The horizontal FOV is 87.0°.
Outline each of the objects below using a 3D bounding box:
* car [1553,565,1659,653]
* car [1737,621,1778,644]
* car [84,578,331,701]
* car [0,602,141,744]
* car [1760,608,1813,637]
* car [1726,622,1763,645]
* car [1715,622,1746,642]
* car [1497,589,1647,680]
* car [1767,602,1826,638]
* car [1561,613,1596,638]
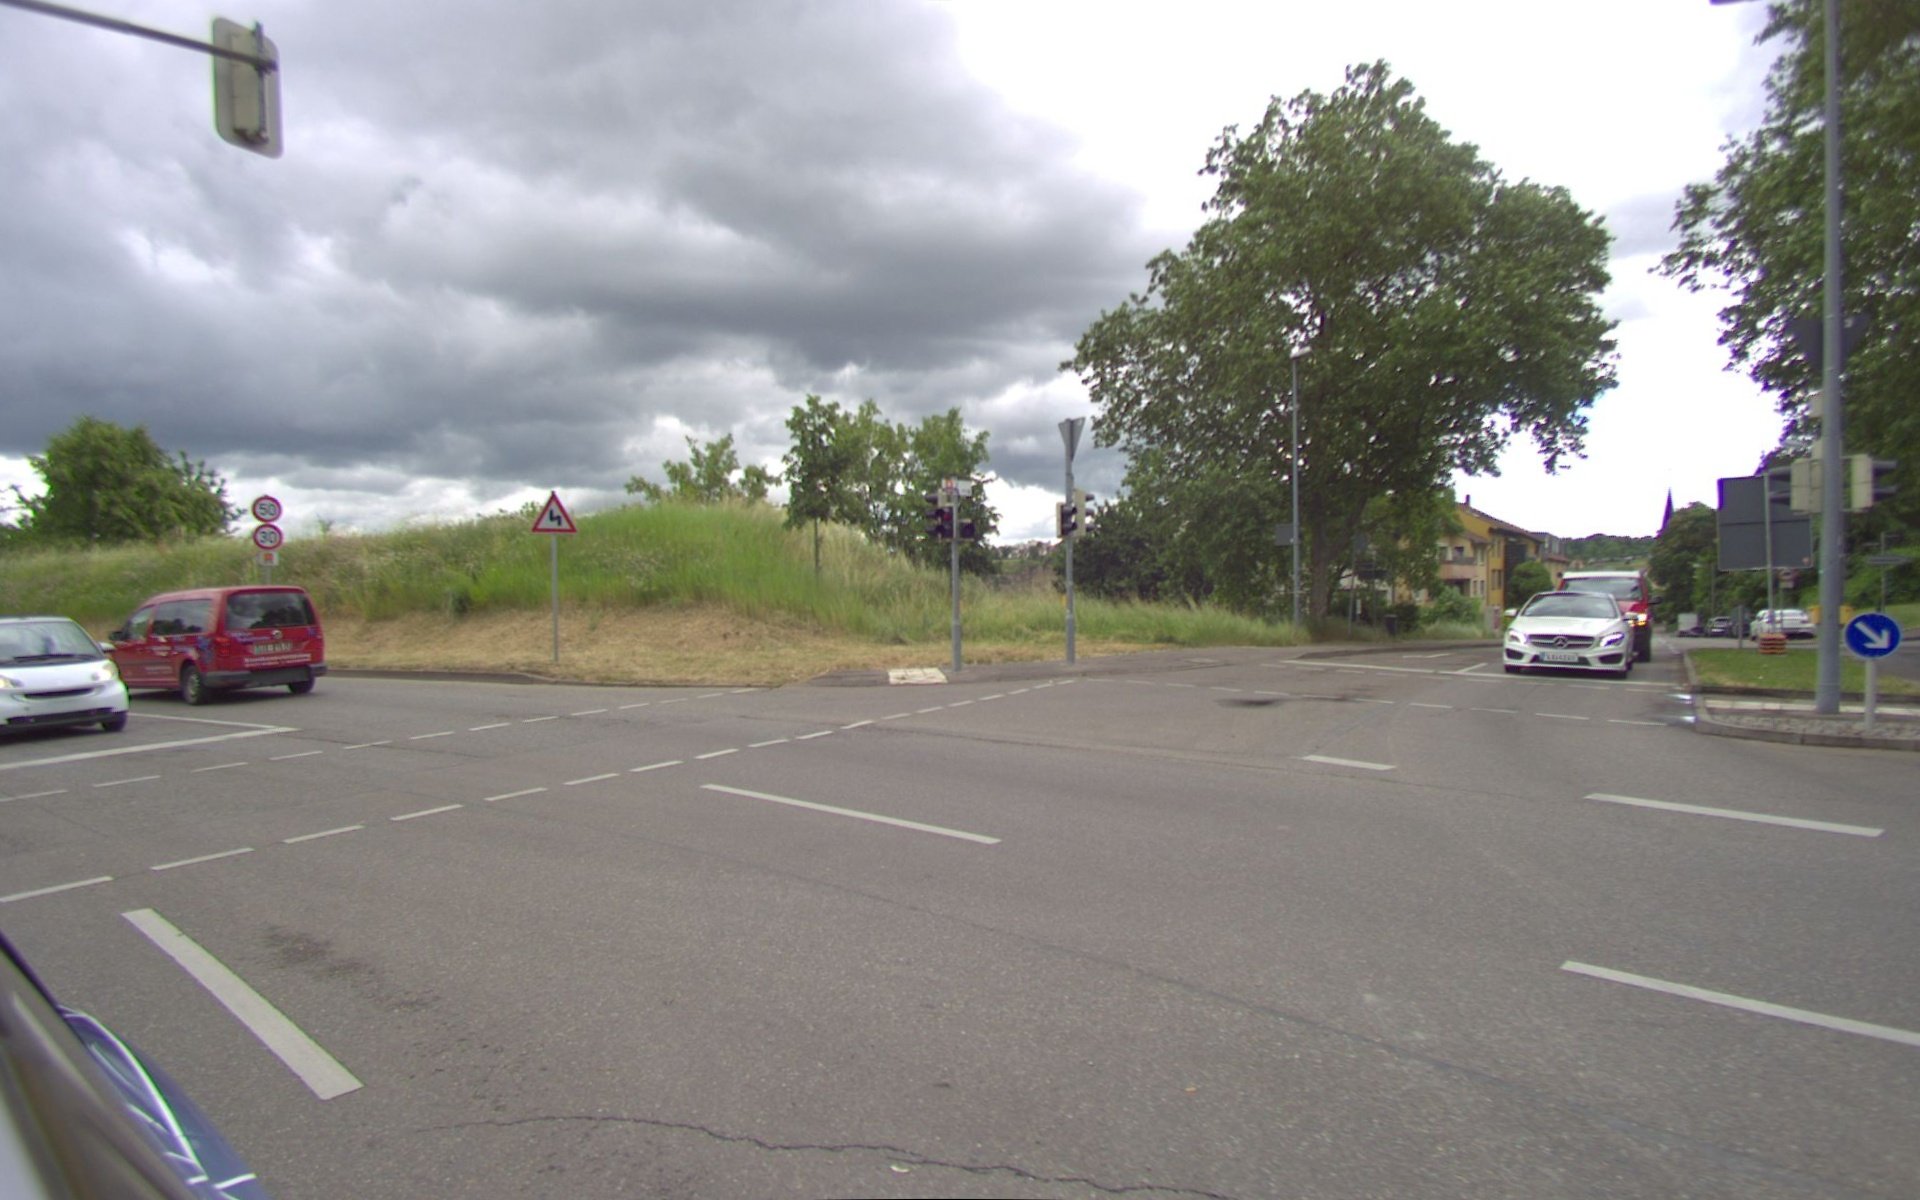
[{"bbox_3d":[14.803,0.176,23.112,1.851,1.827,3.991,-1,0,35],"label":"car"},{"bbox_3d":[46.917,1.904,59.599,1.692,1.320,3.952,-1,-3,35],"label":"car"},{"bbox_3d":[-12.811,0.641,17.154,4.708,1.839,1.676,-2,0,31],"label":"car"},{"bbox_3d":[-12.192,0.904,13.036,3.006,1.569,1.564,-2,3,32],"label":"car"},{"bbox_3d":[39.729,1.124,48.710,1.692,1.320,3.952,-1,-3,35],"label":"car"},{"bbox_3d":[50.711,2.131,65.444,1.692,1.320,3.952,-1,0,35],"label":"car"},{"bbox_3d":[58.218,2.385,76.506,1.692,1.320,3.952,-1,0,35],"label":"car"},{"bbox_3d":[10.907,0.503,17.884,1.996,1.349,4.368,1,2,35],"label":"car"},{"bbox_3d":[36.542,0.890,44.304,1.867,1.501,3.948,-1,-2,38],"label":"car"},{"bbox_3d":[36.821,1.489,60.226,1.668,1.364,3.691,-1,1,33],"label":"car"}]
